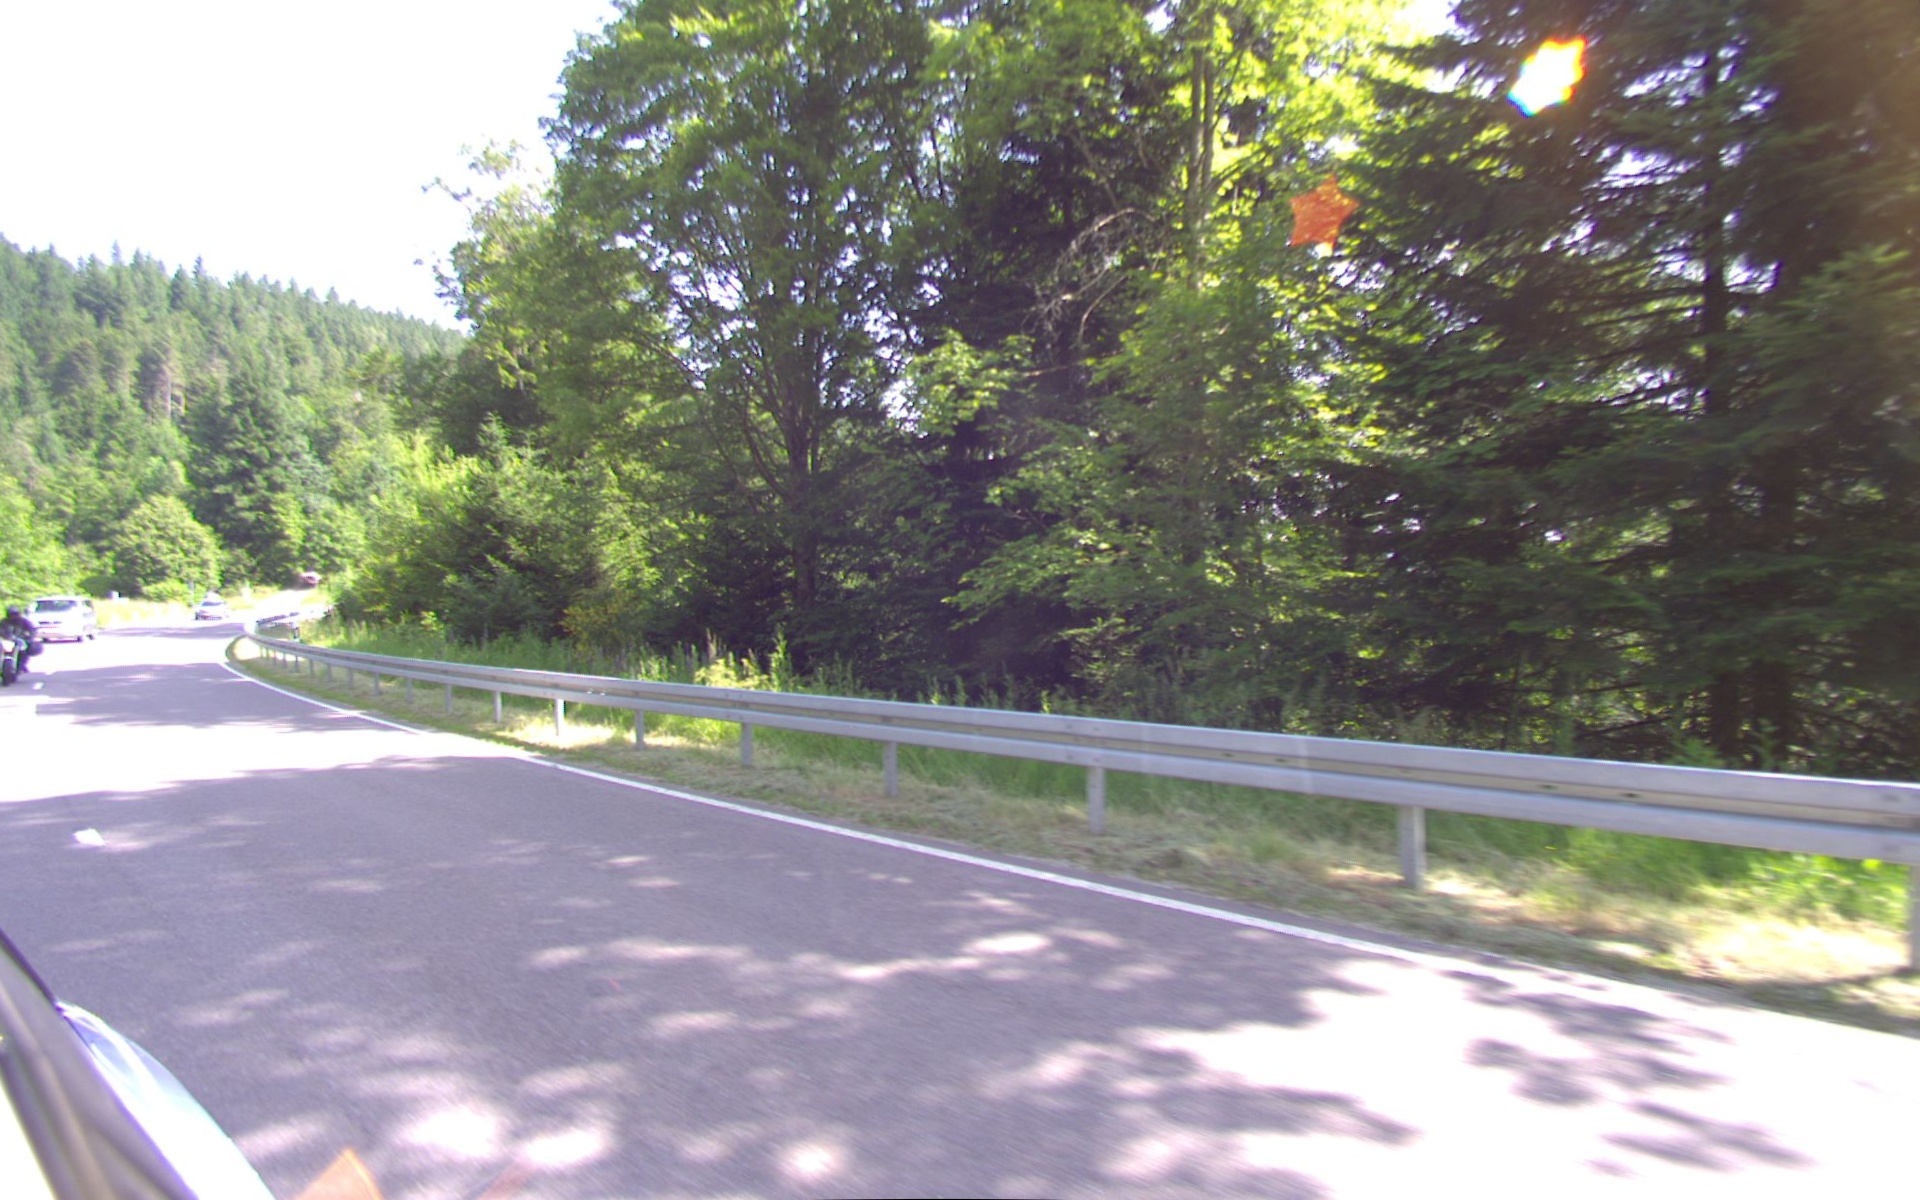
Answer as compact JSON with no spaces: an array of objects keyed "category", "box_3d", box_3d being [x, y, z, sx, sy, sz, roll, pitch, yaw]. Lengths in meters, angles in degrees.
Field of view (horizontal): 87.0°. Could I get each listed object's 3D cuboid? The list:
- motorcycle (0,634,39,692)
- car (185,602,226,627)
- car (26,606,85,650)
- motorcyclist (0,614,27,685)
[{"category":"motorcycle","box_3d":[-20.036,1.306,21.175,1.093,1.132,1.963,0,-1,-42]},{"category":"car","box_3d":[-55.659,1.049,74.717,1.966,1.655,4.012,-1,1,-30]},{"category":"car","box_3d":[-37.655,1.123,42.195,1.628,1.773,3.801,0,0,-39]},{"category":"motorcyclist","box_3d":[-19.982,1.020,21.107,0.706,1.441,1.000,-2,1,-41]}]
